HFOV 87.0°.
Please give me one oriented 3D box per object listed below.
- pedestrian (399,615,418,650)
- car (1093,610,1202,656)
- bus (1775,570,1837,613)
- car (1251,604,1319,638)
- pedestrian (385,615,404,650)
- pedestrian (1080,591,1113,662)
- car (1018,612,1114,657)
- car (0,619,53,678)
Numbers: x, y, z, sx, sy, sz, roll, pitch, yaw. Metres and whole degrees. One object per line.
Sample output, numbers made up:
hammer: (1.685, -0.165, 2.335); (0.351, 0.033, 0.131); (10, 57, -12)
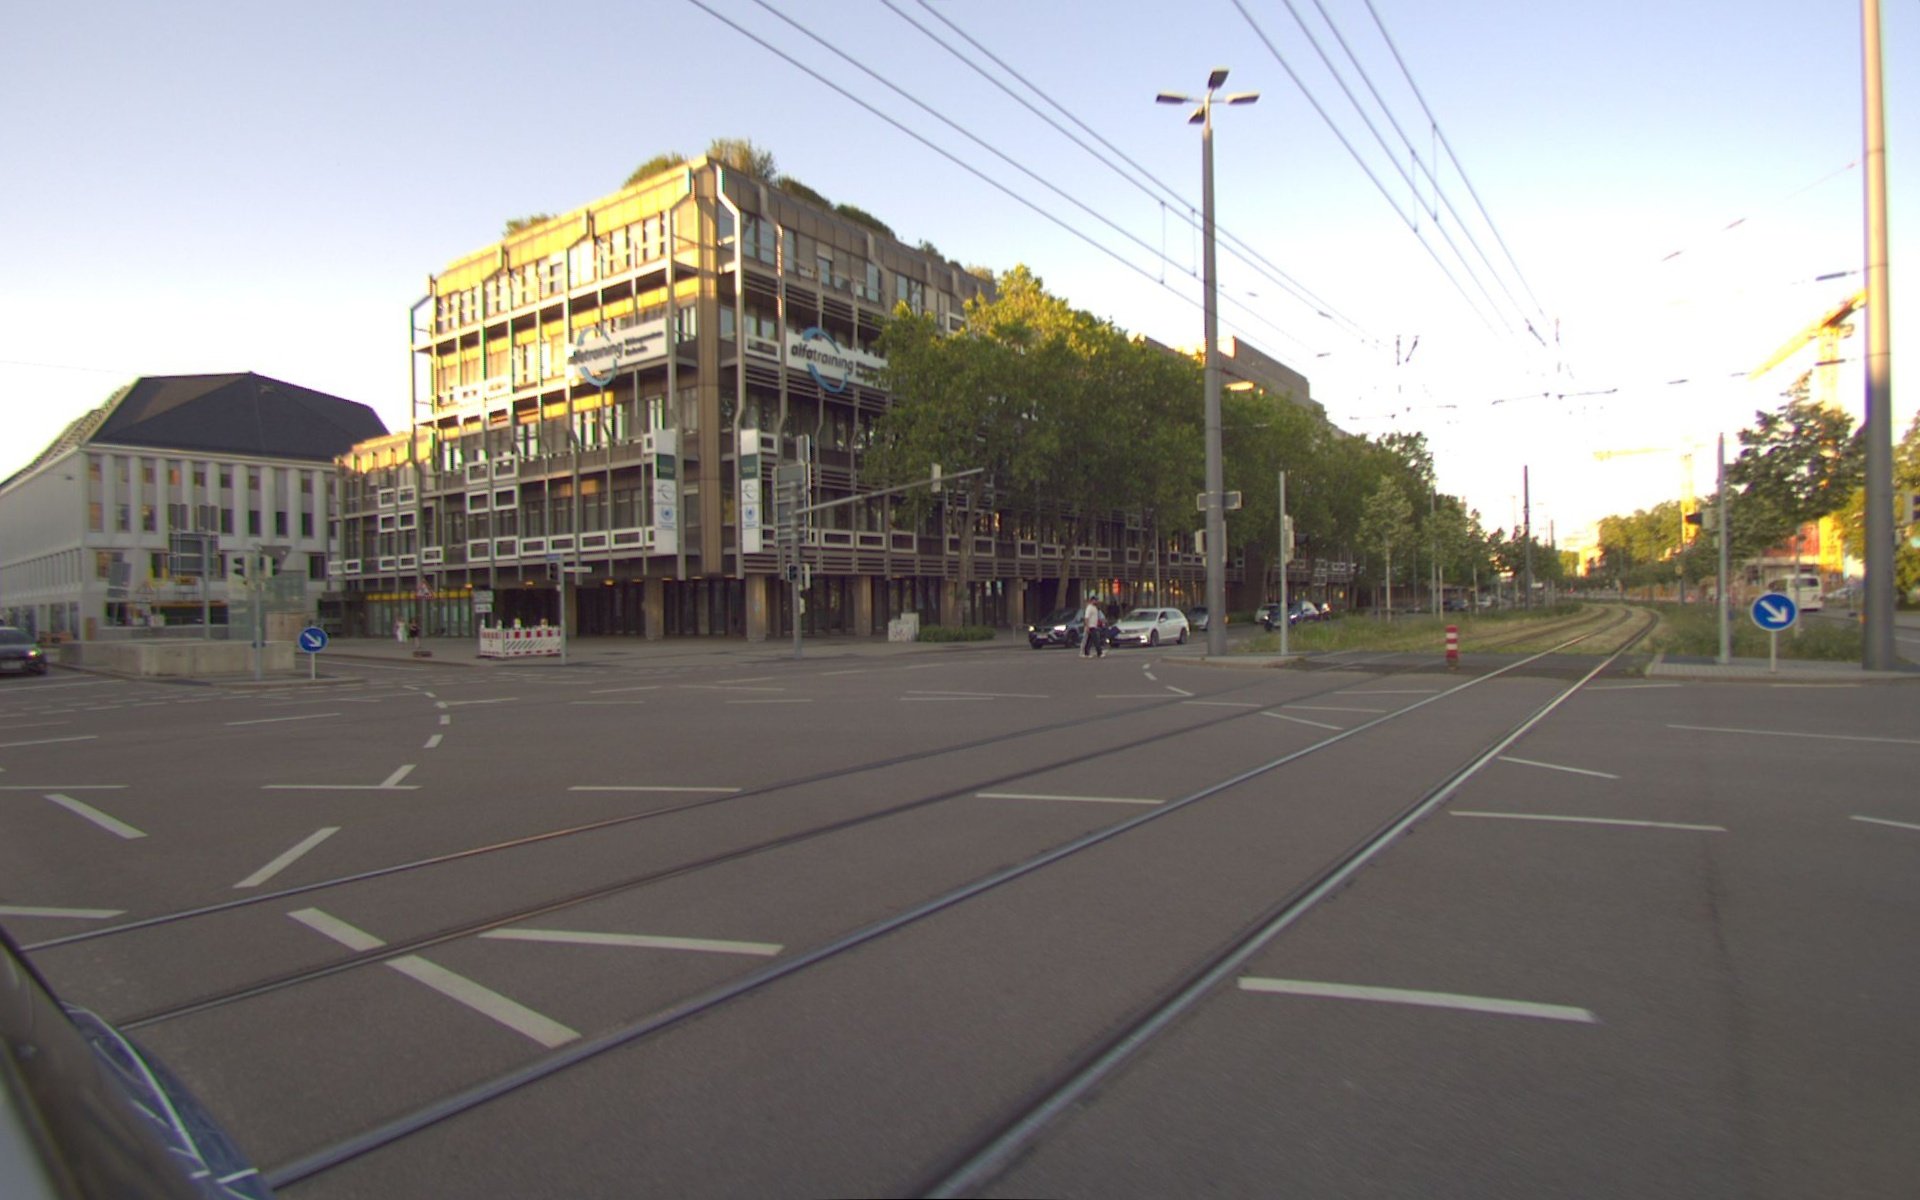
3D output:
pedestrian: (-27.562, 1.608, 50.590); (0.649, 1.725, 0.643); (-1, -1, 42)
car: (7.378, 1.226, 39.432); (1.998, 1.597, 5.096); (-1, 0, 39)
bus: (78.680, -0.739, 94.267); (3.549, 3.743, 8.818); (-1, -1, 34)
car: (16.511, 1.040, 51.377); (2.070, 1.663, 3.949); (-1, 0, 38)
pedestrian: (-27.991, 1.612, 50.119); (0.682, 1.725, 0.637); (-1, -1, 42)
pedestrian: (3.801, 0.722, 28.173); (0.680, 1.946, 0.636); (-1, 0, 37)
car: (4.353, 1.343, 40.891); (1.856, 1.663, 4.345); (-1, -1, 38)
car: (-29.021, 1.430, 30.499); (3.998, 1.663, 2.045); (-1, -1, 41)
